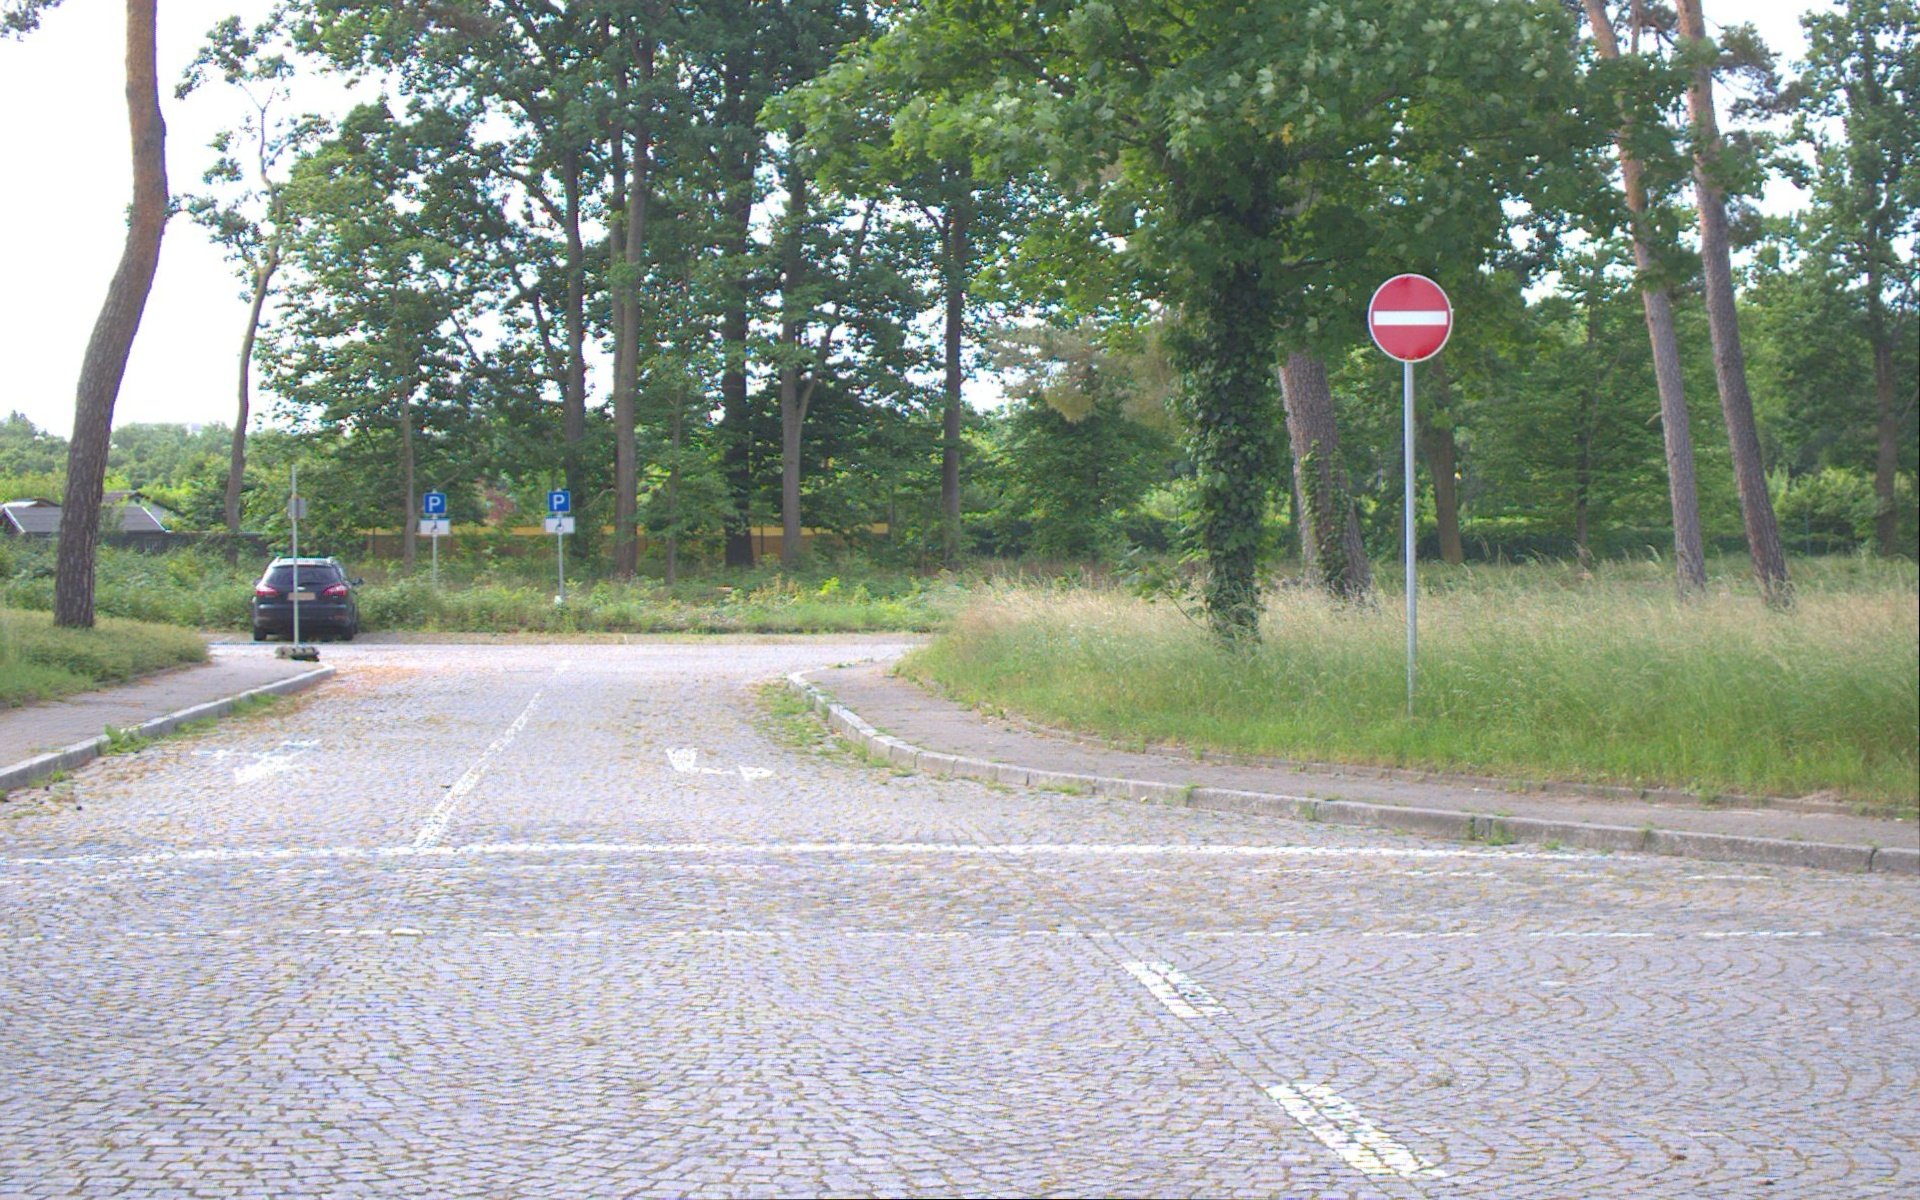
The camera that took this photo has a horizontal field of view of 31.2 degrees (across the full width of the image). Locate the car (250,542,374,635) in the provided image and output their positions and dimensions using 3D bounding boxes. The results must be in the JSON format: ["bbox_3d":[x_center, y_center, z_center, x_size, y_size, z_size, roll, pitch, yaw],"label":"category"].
[{"bbox_3d":[-12.112,-0.245,64.445,1.711,1.605,4.058,2,1,-3],"label":"car"}]
